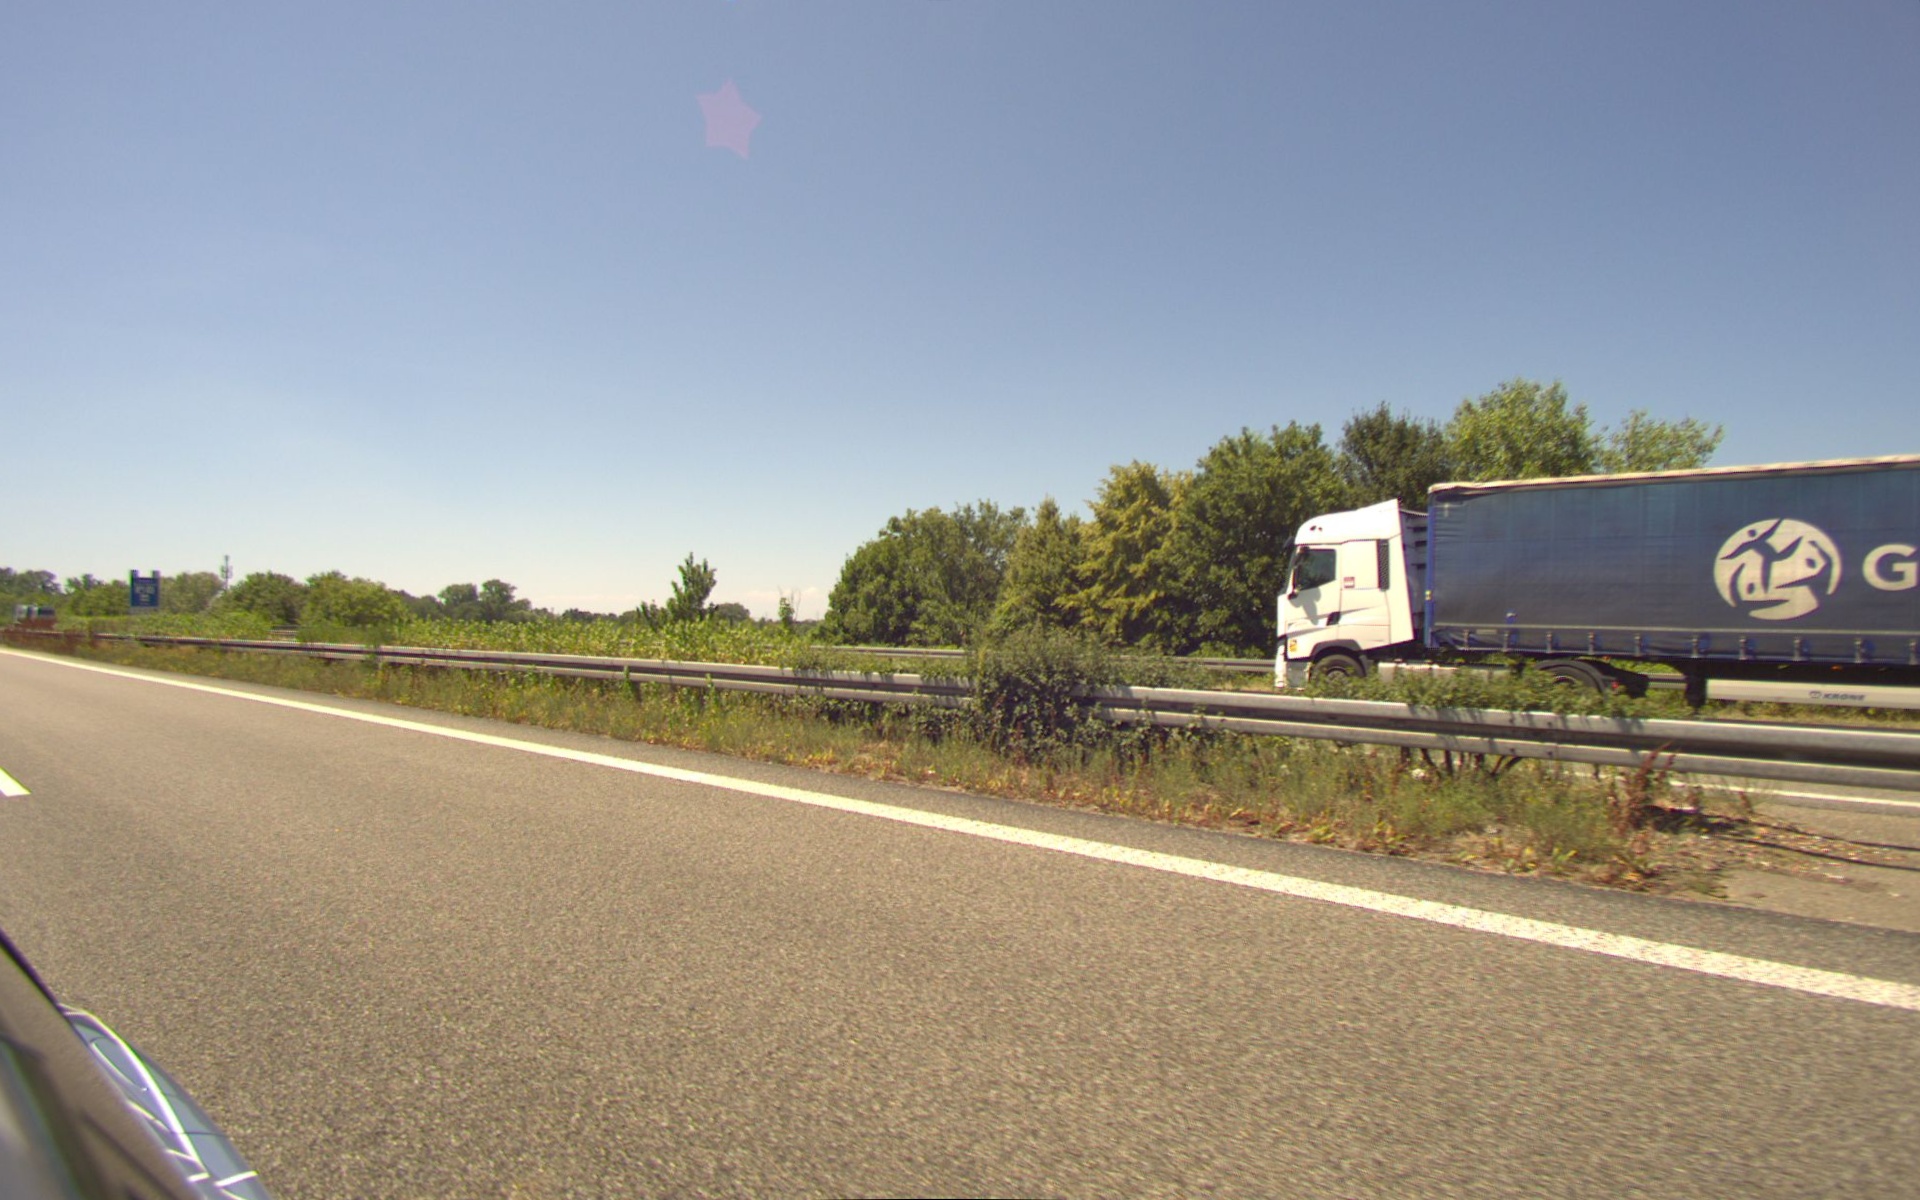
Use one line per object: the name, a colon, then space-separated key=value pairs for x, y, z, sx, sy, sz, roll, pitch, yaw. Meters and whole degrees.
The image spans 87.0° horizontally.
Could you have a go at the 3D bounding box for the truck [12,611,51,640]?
truck: x=-131.308 y=3.637 z=143.055 sx=9.616 sy=4.021 sz=2.887 roll=-2 pitch=-1 yaw=40

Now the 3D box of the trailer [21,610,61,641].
trailer: x=-125.268 y=3.459 z=137.896 sx=9.651 sy=4.021 sz=2.896 roll=-2 pitch=-1 yaw=40

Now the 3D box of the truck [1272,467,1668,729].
truck: x=9.493 y=0.058 z=19.183 sx=6.190 sy=4.161 sz=2.886 roll=-1 pitch=-4 yaw=41

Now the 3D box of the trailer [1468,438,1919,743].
trailer: x=14.938 y=-0.074 z=14.408 sx=13.535 sy=4.218 sz=2.889 roll=-1 pitch=-4 yaw=41
